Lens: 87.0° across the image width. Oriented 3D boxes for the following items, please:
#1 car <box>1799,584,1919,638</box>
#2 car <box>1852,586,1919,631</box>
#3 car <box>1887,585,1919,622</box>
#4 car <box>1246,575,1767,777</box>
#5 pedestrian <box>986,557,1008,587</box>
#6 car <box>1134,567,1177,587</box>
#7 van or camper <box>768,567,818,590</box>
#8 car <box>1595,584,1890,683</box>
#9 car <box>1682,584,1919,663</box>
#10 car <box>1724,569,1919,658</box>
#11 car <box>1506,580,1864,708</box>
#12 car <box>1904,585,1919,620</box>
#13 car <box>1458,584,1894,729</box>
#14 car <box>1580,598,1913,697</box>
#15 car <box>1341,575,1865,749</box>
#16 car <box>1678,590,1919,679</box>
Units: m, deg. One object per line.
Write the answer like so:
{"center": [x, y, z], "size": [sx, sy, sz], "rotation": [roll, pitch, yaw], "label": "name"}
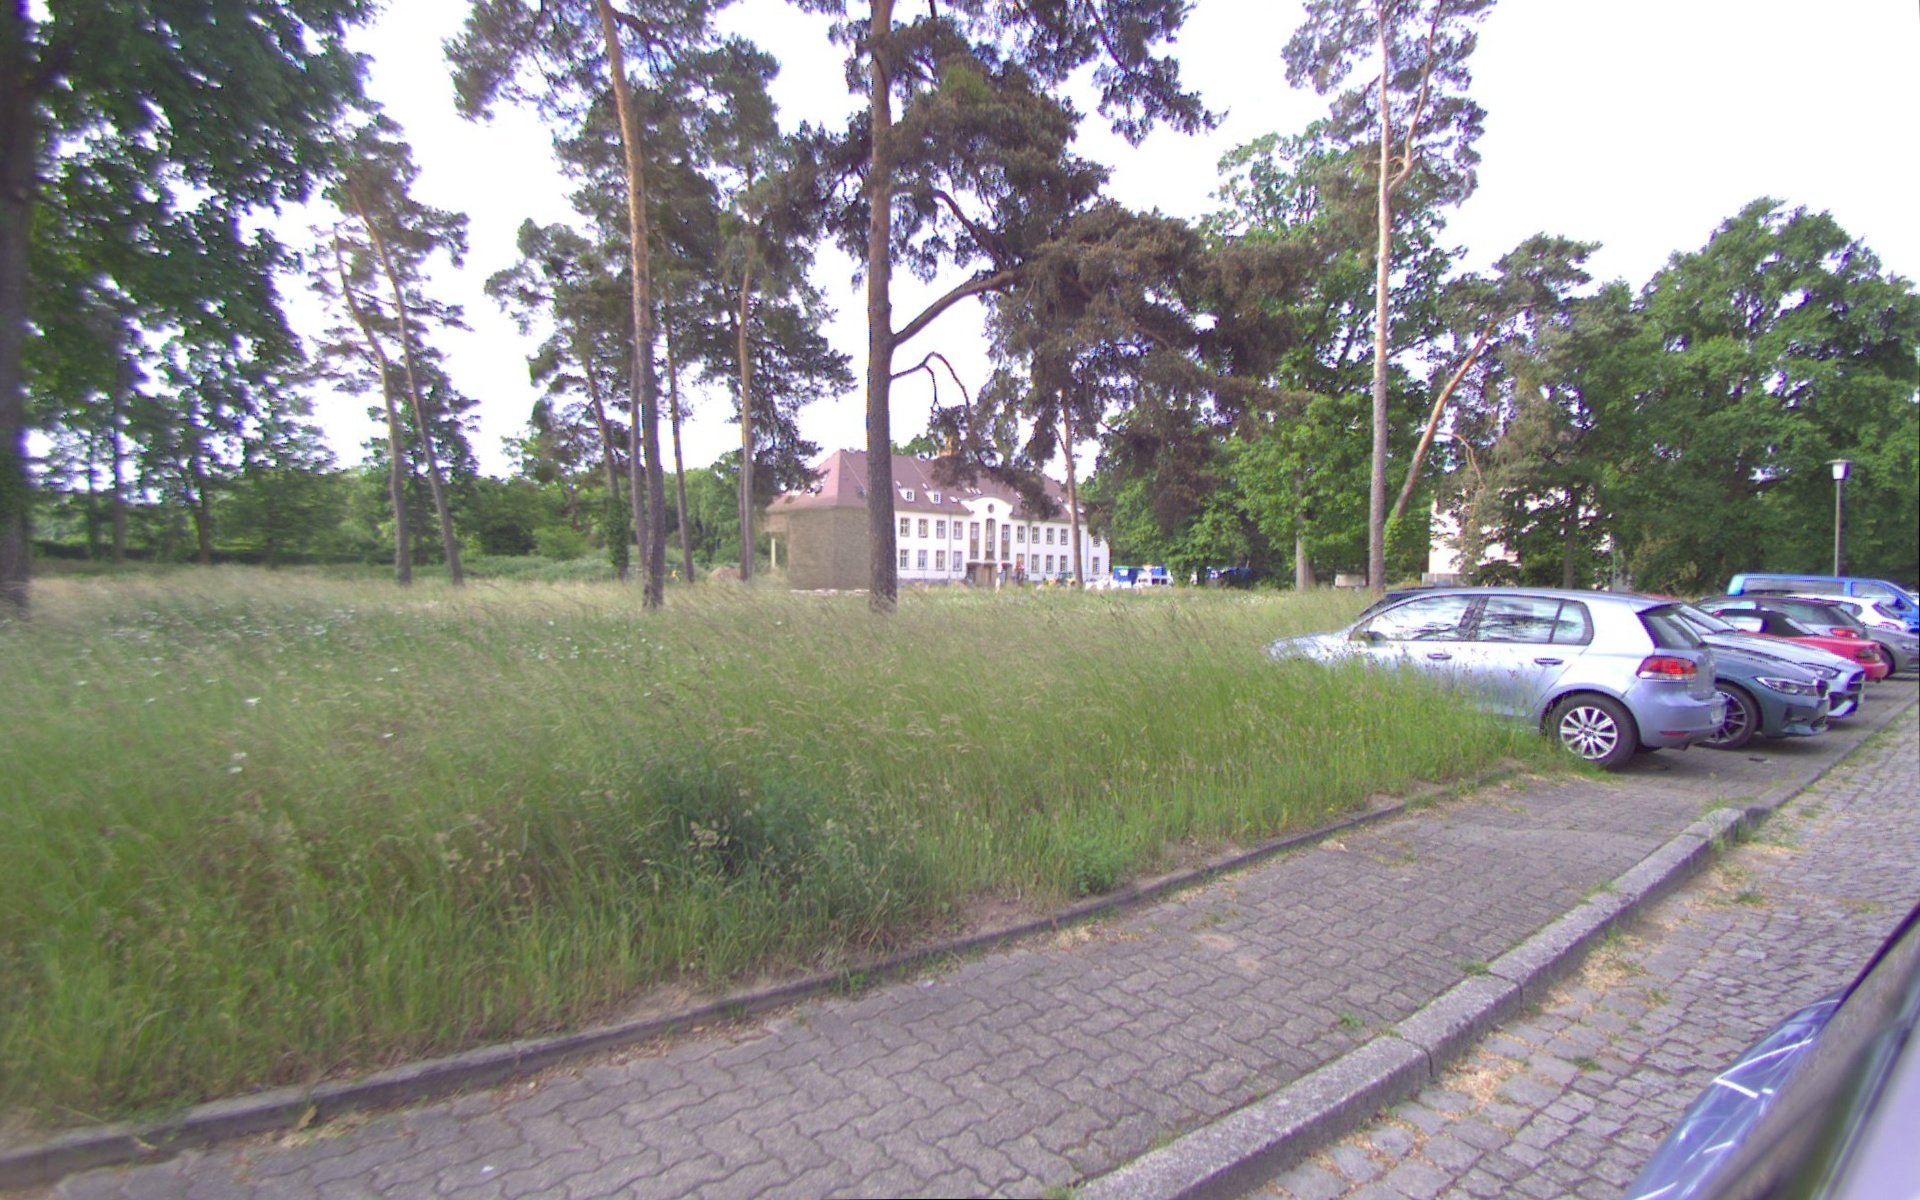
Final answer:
{"center": [28.684, 0.333, 31.235], "size": [1.836, 1.523, 3.997], "rotation": [0, 2, -39], "label": "car"}
{"center": [36.222, 0.330, 37.984], "size": [1.967, 1.589, 3.990], "rotation": [0, 2, -44], "label": "car"}
{"center": [43.757, 0.187, 44.761], "size": [1.965, 1.589, 3.790], "rotation": [0, 2, -40], "label": "car"}
{"center": [4.957, 0.528, 9.642], "size": [1.765, 1.436, 3.995], "rotation": [0, 2, -40], "label": "car"}
{"center": [2.741, -2.072, 75.371], "size": [1.038, 2.204, 1.183], "rotation": [0, 2, -41], "label": "pedestrian"}
{"center": [21.414, -2.494, 110.726], "size": [4.754, 2.038, 2.163], "rotation": [0, 2, -44], "label": "car"}
{"center": [-18.312, -2.387, 110.723], "size": [2.424, 2.335, 6.114], "rotation": [0, 2, -43], "label": "van or camper"}
{"center": [14.000, 0.514, 18.285], "size": [1.765, 1.494, 3.931], "rotation": [0, 2, -40], "label": "car"}
{"center": [18.328, 0.439, 22.039], "size": [1.765, 1.467, 3.931], "rotation": [0, 2, -41], "label": "car"}
{"center": [22.291, 0.279, 25.210], "size": [1.963, 2.038, 4.843], "rotation": [0, 2, -37], "label": "car"}
{"center": [10.485, 0.527, 14.878], "size": [1.764, 1.531, 3.933], "rotation": [0, 2, -39], "label": "car"}
{"center": [47.146, 0.153, 47.573], "size": [1.965, 1.645, 3.790], "rotation": [0, 2, -40], "label": "car"}
{"center": [9.008, 0.574, 13.070], "size": [1.764, 1.463, 4.267], "rotation": [0, 2, -39], "label": "car"}
{"center": [12.433, 0.655, 16.201], "size": [1.765, 1.250, 3.931], "rotation": [0, 2, -40], "label": "car"}
{"center": [6.883, 0.502, 11.313], "size": [1.765, 1.463, 4.627], "rotation": [0, 2, -41], "label": "car"}
{"center": [16.447, 0.588, 19.521], "size": [1.765, 1.453, 3.931], "rotation": [0, 2, -41], "label": "car"}
